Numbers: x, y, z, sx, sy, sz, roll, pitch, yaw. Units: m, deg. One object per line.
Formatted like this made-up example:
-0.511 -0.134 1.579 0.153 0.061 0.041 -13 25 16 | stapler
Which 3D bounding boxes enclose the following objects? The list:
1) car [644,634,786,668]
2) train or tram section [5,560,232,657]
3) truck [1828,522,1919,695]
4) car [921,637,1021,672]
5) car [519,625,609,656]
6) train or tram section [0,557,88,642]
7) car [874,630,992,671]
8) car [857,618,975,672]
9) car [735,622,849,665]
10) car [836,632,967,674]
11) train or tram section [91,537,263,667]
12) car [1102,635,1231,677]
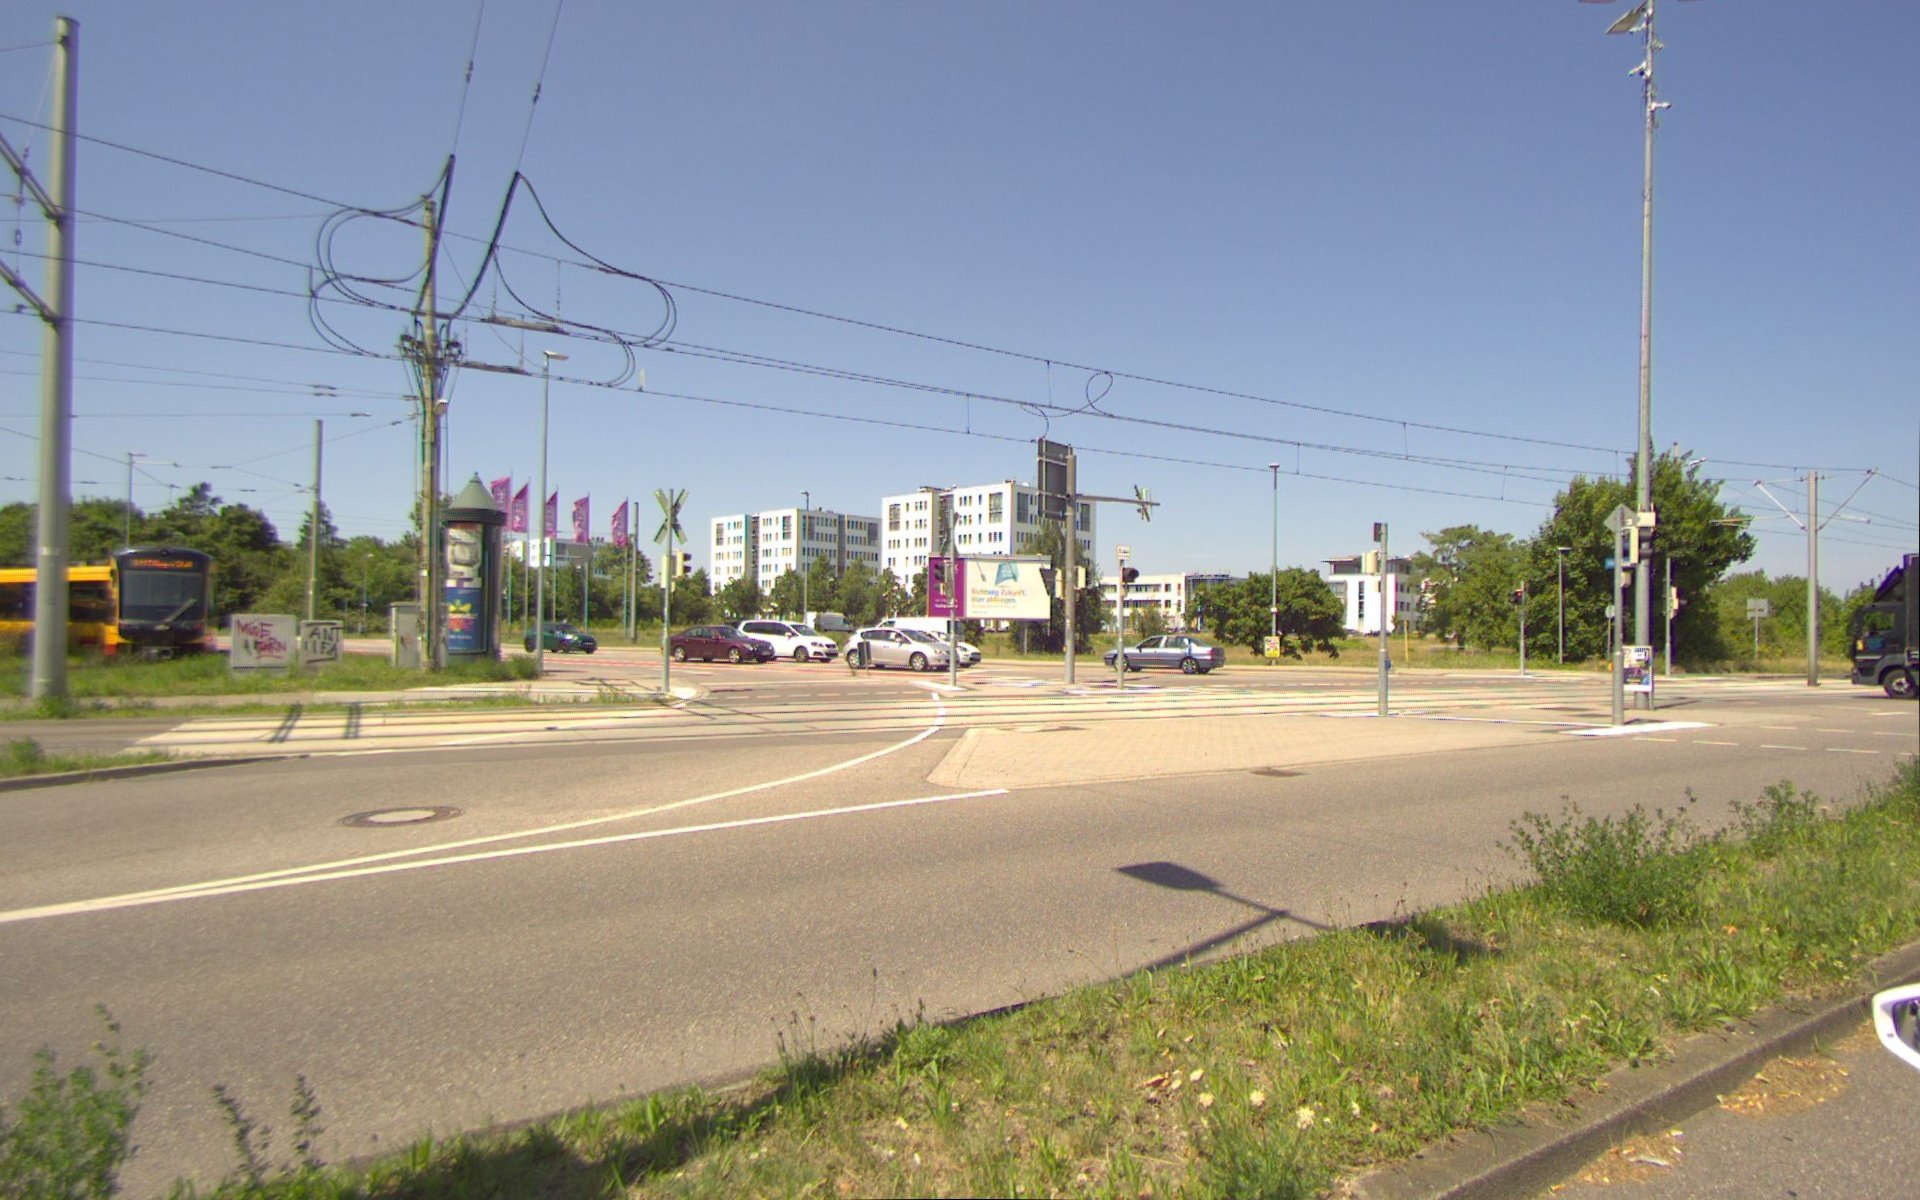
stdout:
-9.492 1.953 38.927 5.135 1.147 1.899 0 0 18 | car
-33.900 0.236 40.345 10.031 3.512 3.044 1 0 25 | train or tram section
25.992 0.197 24.045 2.783 4.401 8.279 2 -2 -5 | truck
0.463 2.441 45.627 4.362 1.390 1.890 0 -1 39 | car
-19.281 1.941 48.894 4.154 1.390 1.896 0 0 28 | car
-45.167 -0.152 43.098 12.502 3.512 3.045 1 0 -2 | train or tram section
-1.051 1.938 39.024 4.203 1.431 1.896 0 0 29 | car
-1.879 1.866 42.630 4.658 2.139 1.998 0 0 26 | car
-7.044 1.770 42.024 4.456 1.660 1.997 0 0 28 | car
-2.054 1.822 35.380 4.202 1.311 1.998 0 0 27 | car
-25.572 0.014 33.495 3.012 3.512 13.176 1 0 -32 | train or tram section
7.661 2.045 37.392 4.352 1.390 1.895 0 0 31 | car
